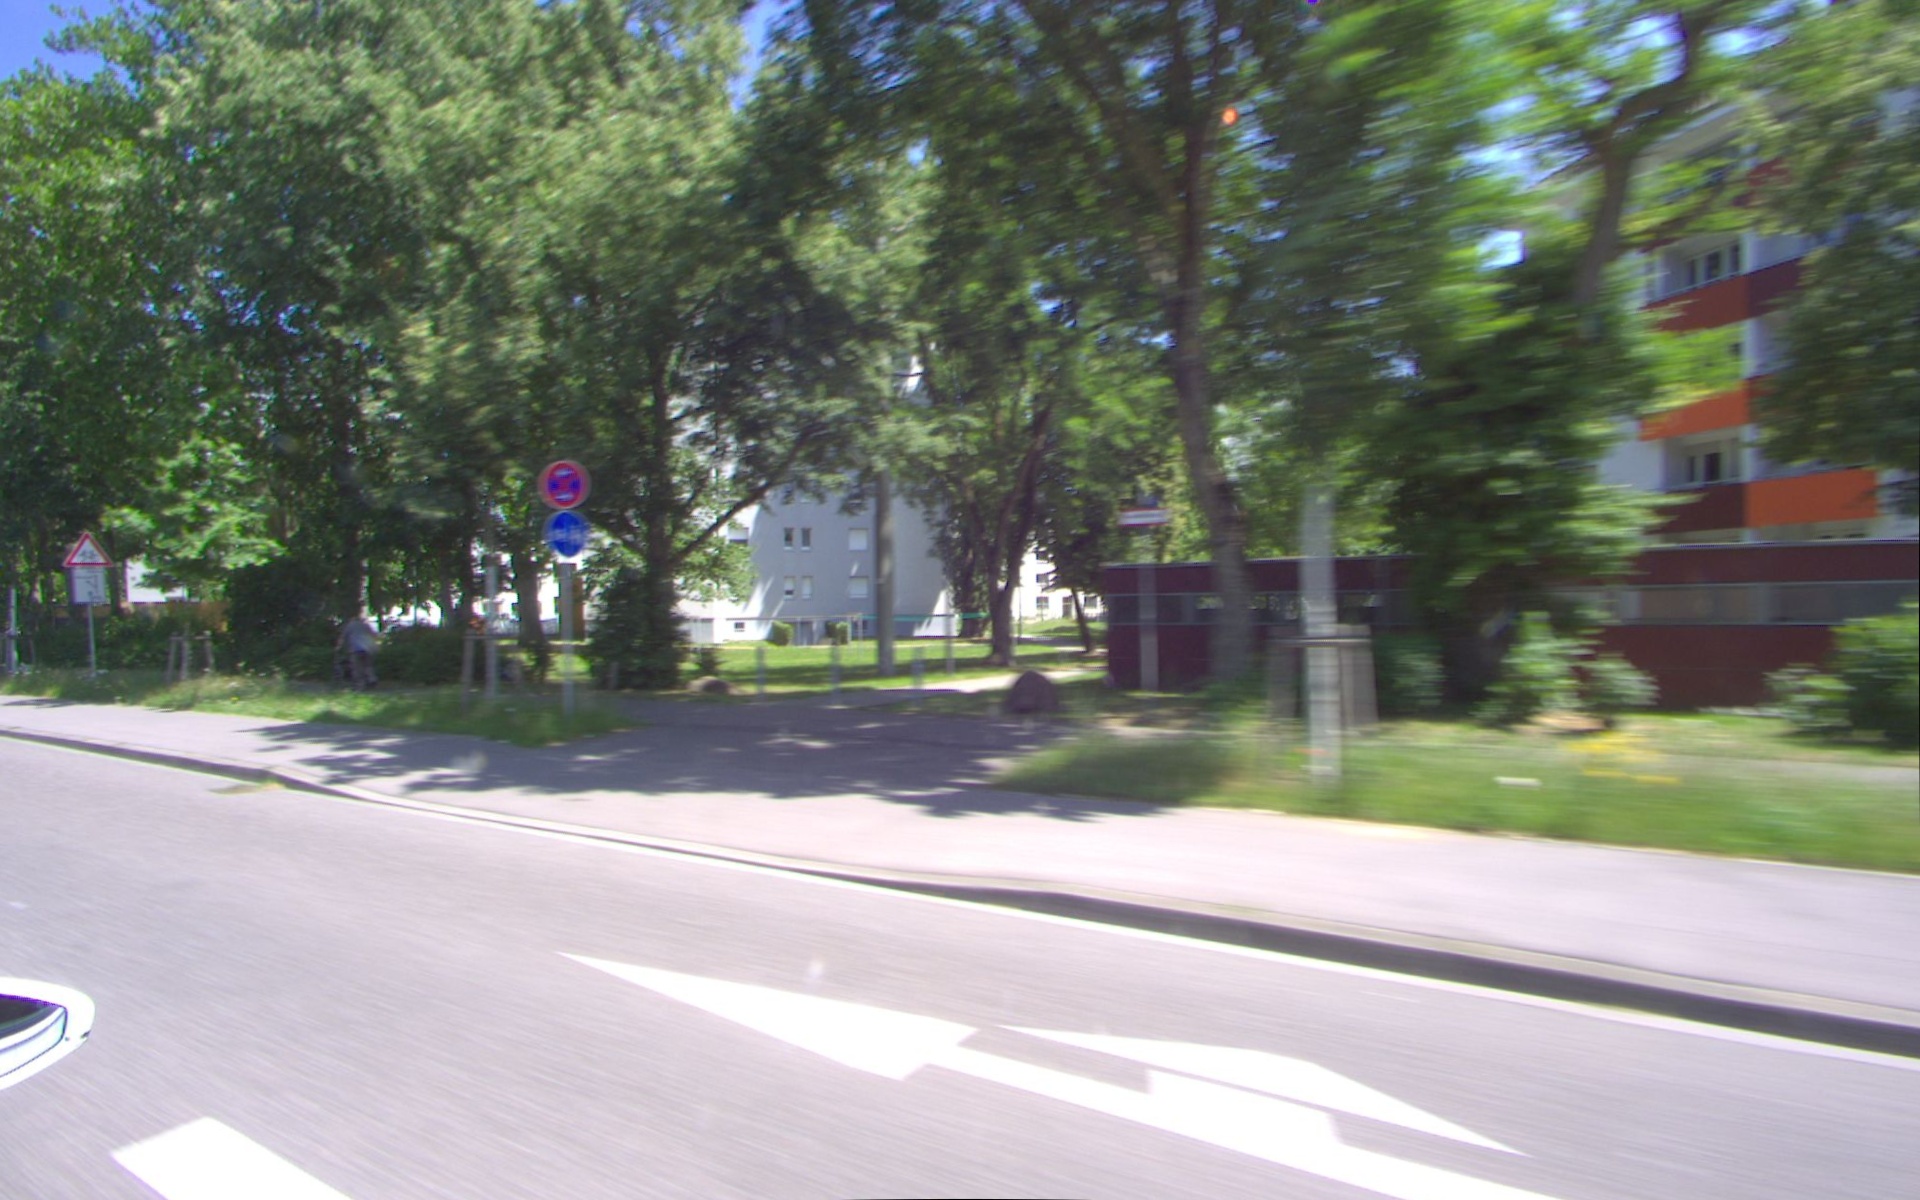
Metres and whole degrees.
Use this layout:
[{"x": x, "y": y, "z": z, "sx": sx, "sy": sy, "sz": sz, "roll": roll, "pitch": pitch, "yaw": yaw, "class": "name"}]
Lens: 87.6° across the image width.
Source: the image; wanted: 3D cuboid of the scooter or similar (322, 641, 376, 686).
[{"x": -12.582, "y": 1.292, "z": 20.621, "sx": 0.752, "sy": 0.904, "sz": 0.707, "roll": 0, "pitch": -1, "yaw": 33, "class": "scooter or similar"}]

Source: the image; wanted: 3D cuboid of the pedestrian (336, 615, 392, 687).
[{"x": -12.081, "y": 1.029, "z": 20.295, "sx": 0.752, "sy": 1.416, "sz": 0.706, "roll": 0, "pitch": -1, "yaw": 33, "class": "pedestrian"}]
